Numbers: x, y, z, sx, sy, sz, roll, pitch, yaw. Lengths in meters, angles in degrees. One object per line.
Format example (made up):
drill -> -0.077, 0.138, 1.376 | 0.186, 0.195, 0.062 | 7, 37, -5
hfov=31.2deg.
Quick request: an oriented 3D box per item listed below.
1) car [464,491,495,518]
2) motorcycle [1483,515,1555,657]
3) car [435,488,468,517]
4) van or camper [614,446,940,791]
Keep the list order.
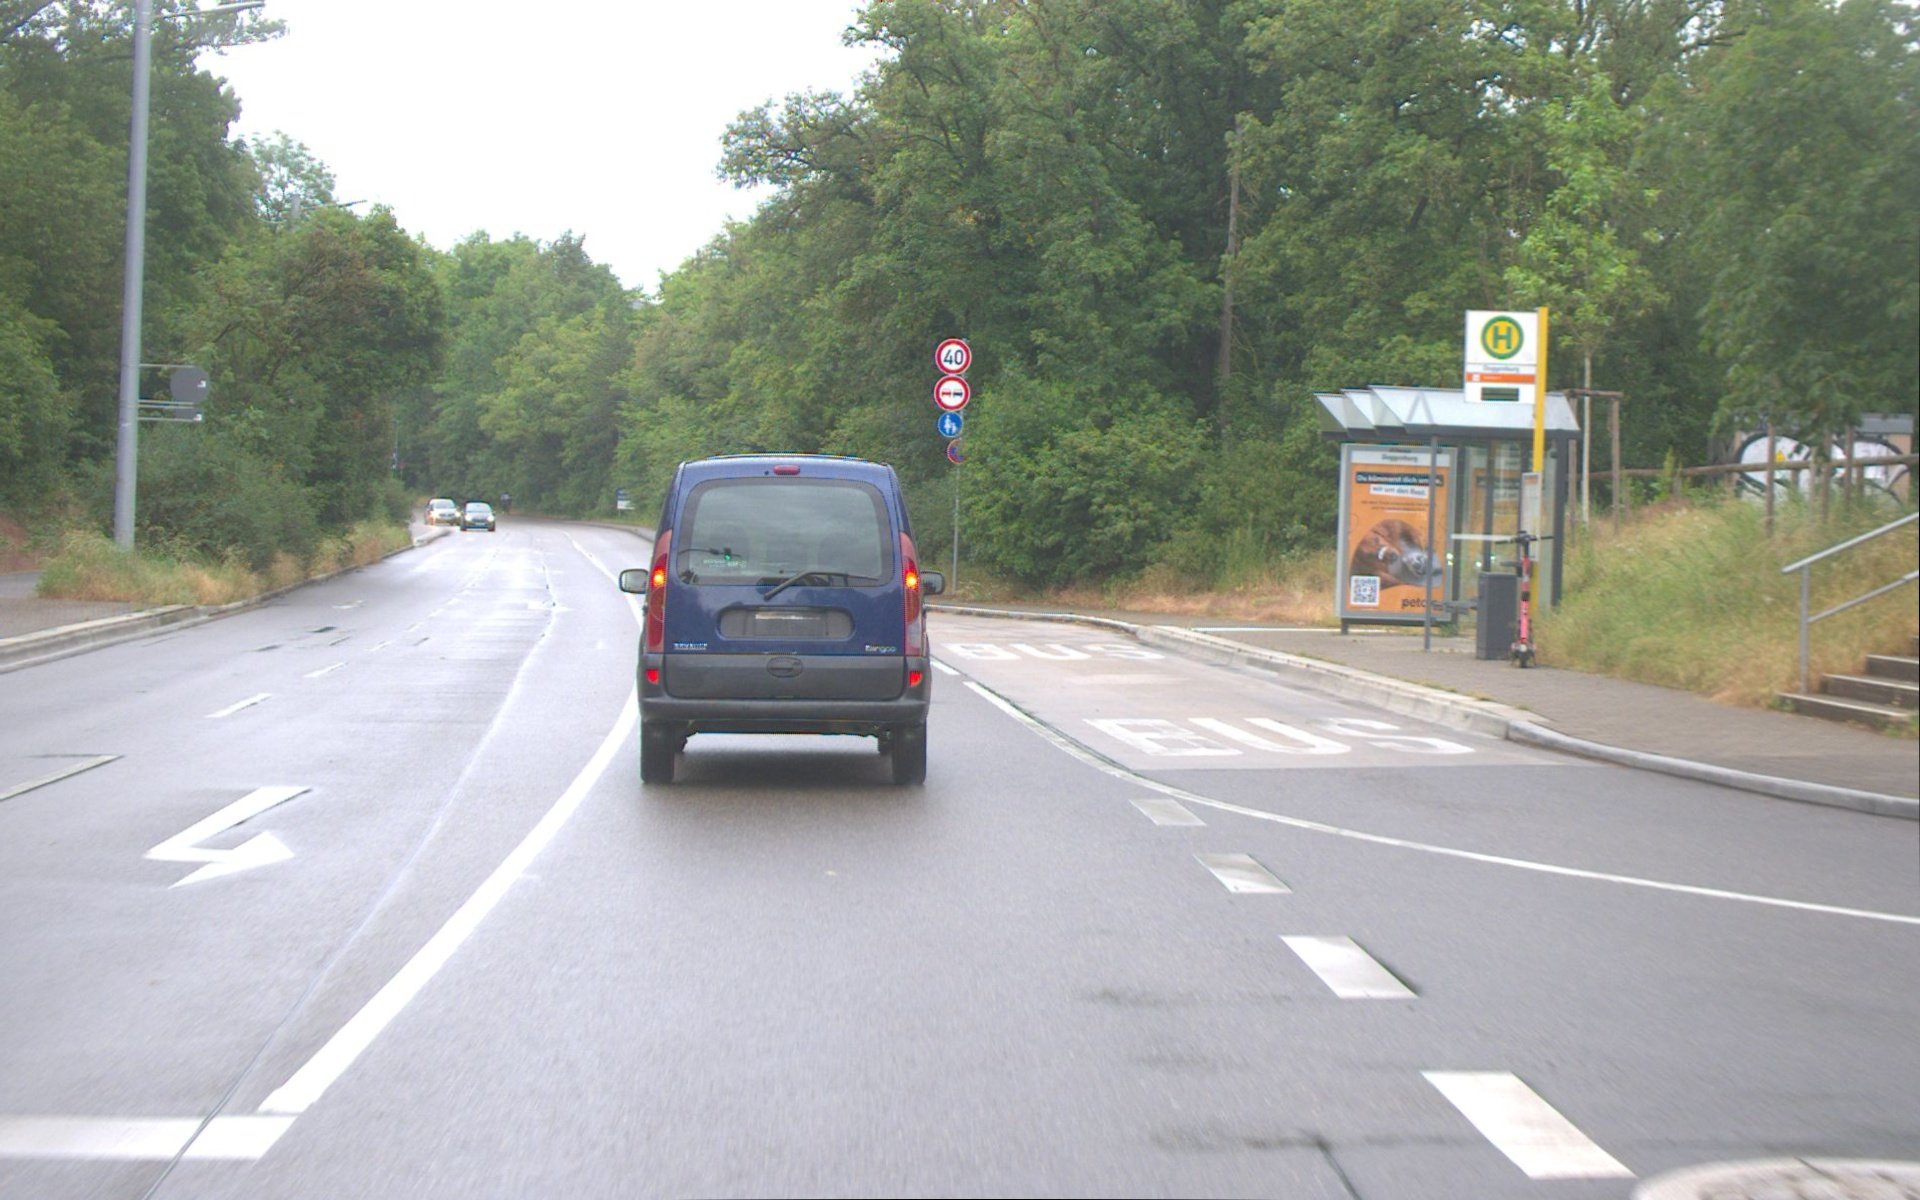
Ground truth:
car -> -25.288, -5.030, 180.869 | 1.598, 1.436, 3.992 | 0, 2, -8
motorcycle -> 5.246, -0.148, 32.227 | 0.589, 1.284, 1.537 | 2, 1, 11
car -> -30.166, -5.796, 204.129 | 1.771, 1.605, 4.085 | 1, 2, -7
van or camper -> -1.144, 0.054, 20.387 | 1.712, 1.819, 4.001 | 1, 1, -5
